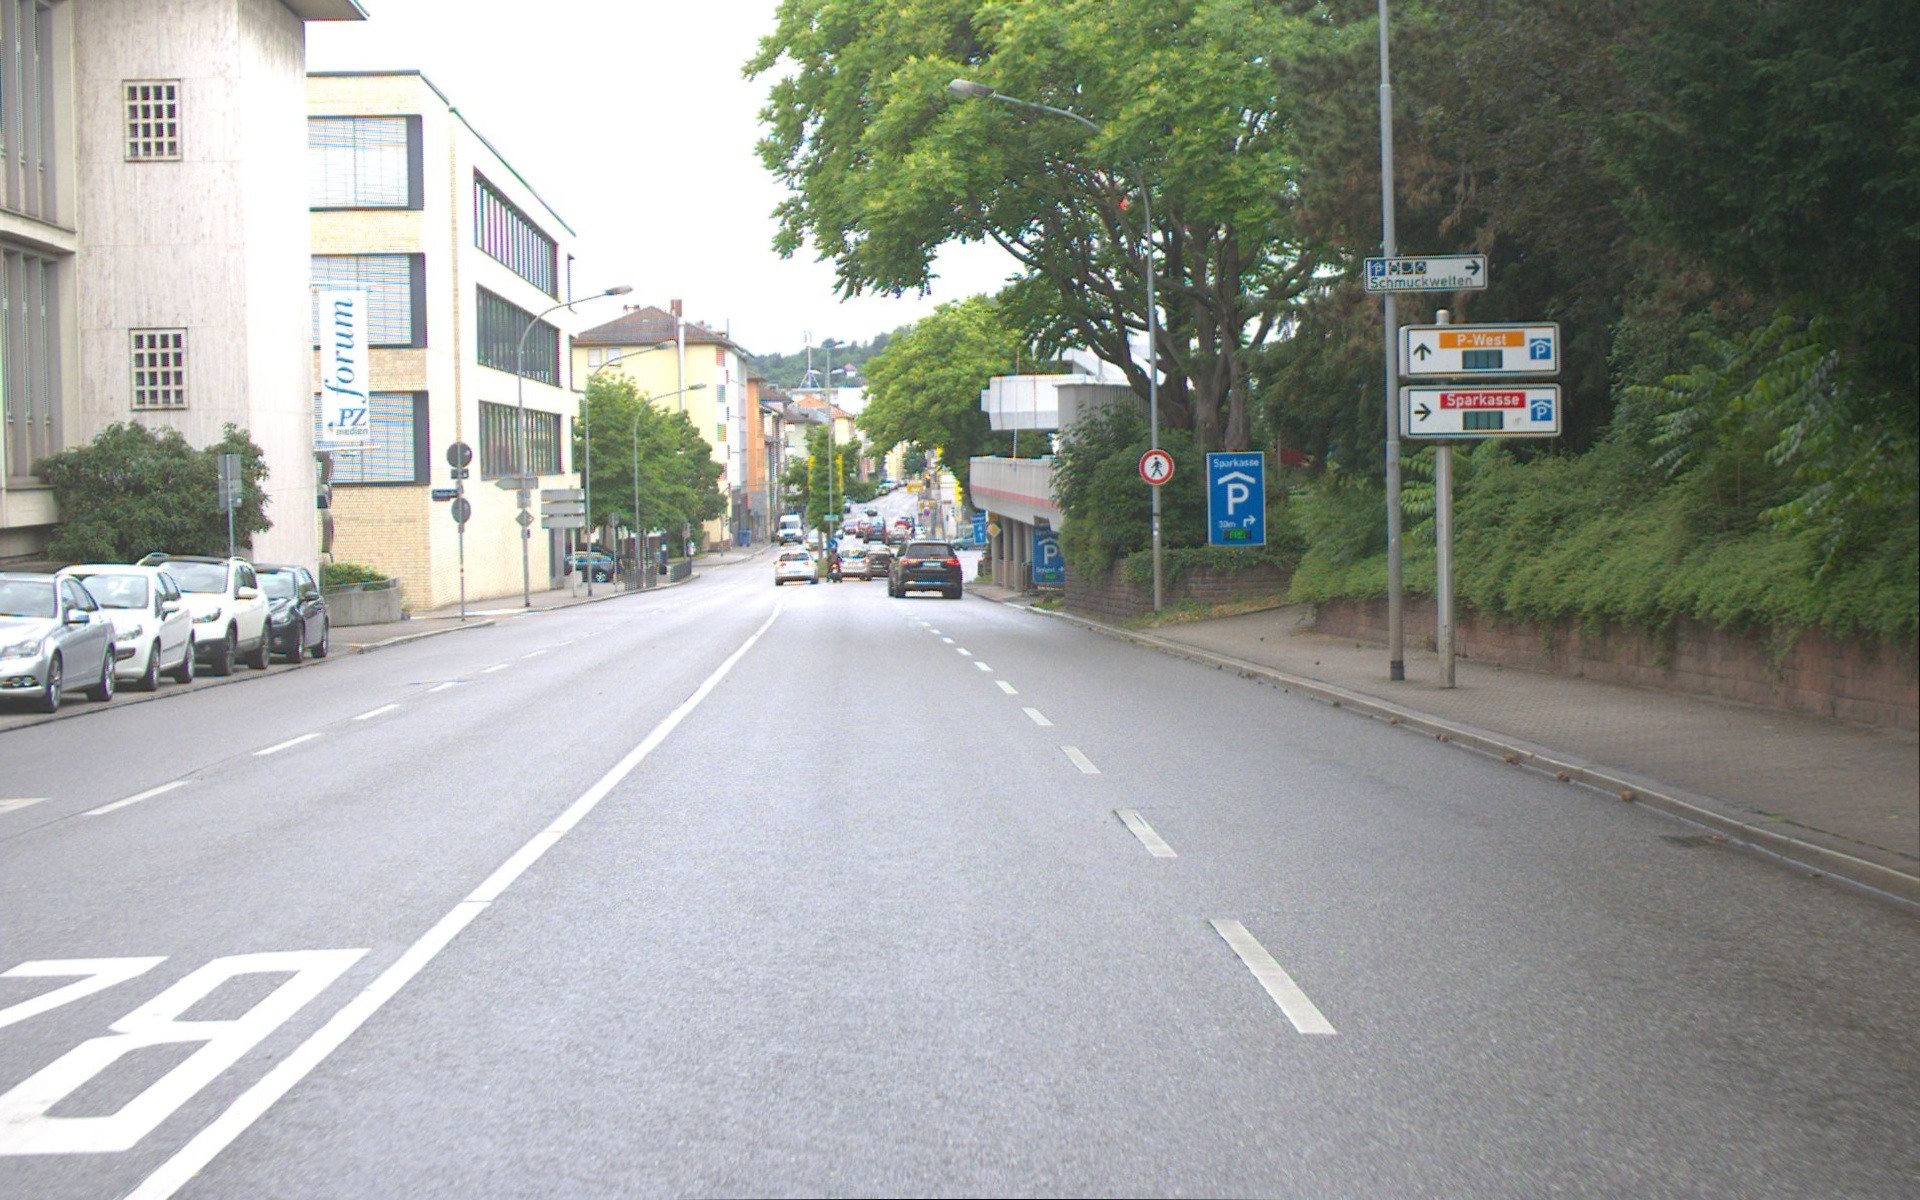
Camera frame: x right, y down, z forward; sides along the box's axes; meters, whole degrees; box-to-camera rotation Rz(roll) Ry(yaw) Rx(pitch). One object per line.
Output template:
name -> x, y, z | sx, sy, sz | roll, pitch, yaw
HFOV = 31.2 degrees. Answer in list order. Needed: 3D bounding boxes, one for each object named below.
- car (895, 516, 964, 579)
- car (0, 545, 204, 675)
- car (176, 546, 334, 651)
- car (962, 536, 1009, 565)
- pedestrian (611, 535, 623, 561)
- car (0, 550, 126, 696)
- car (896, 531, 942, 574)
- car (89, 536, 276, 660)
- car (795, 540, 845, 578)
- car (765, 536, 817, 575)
car -> -0.954, -1.637, 105.916 | 2.091, 1.904, 4.100 | 0, 1, -1
car -> -10.475, 0.082, 41.998 | 1.748, 1.449, 4.182 | 1, 1, -3
car -> -10.715, -0.056, 52.496 | 1.748, 1.475, 4.182 | 1, 1, -3
car -> 1.486, -2.870, 199.021 | 1.994, 1.674, 3.998 | 0, 1, 12
pedestrian -> -17.055, -2.587, 170.961 | 0.454, 1.274, 0.454 | 0, 1, 9
car -> -10.186, 0.193, 36.540 | 1.748, 1.430, 4.487 | 1, 1, -3
car -> -1.965, -2.277, 164.844 | 2.173, 1.997, 4.000 | 0, 1, -1
car -> -10.643, -0.066, 47.310 | 1.748, 1.592, 4.182 | 1, 1, -2
car -> -6.422, -1.878, 157.303 | 1.993, 1.674, 4.001 | 0, 1, -7
car -> -7.340, -1.942, 149.336 | 1.993, 1.674, 4.001 | 0, 1, -7
